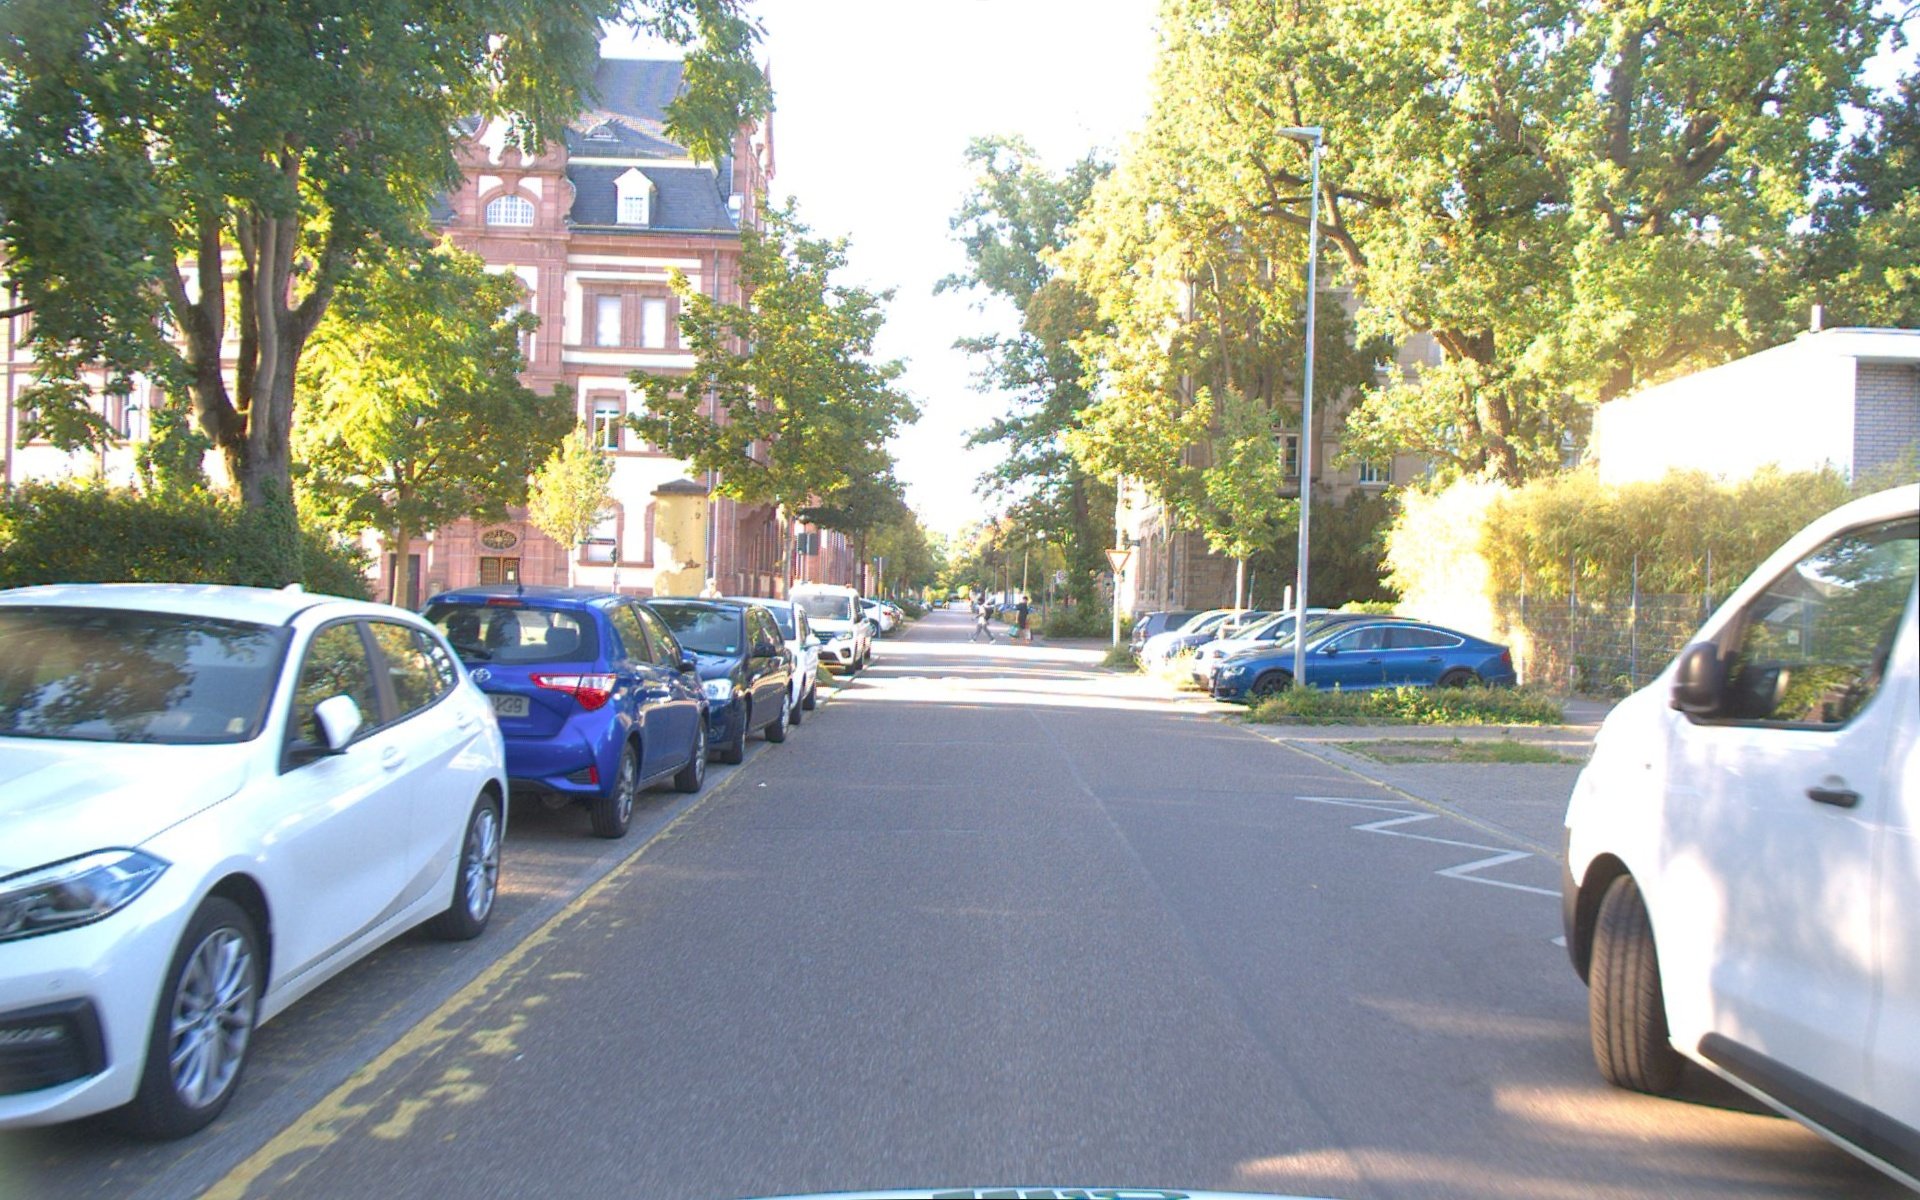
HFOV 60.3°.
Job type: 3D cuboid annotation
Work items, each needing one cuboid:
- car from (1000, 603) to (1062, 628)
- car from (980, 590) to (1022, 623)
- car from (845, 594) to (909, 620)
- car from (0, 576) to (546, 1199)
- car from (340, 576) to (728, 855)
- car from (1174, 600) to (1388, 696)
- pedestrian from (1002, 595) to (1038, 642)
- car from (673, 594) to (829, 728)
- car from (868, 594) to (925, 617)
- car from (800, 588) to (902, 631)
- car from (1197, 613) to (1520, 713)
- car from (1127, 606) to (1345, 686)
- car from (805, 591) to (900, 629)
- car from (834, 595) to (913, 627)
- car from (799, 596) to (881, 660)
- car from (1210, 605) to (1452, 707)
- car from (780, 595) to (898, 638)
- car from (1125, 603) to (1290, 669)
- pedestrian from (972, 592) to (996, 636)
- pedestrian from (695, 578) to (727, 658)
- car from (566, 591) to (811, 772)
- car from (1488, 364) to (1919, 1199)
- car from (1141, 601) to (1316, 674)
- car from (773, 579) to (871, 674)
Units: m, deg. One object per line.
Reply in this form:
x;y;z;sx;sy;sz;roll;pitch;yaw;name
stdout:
5.177;1.134;121.385;4.393;1.636;1.841;2;0;-3;car
4.846;0.760;194.459;4.787;3.681;1.842;2;0;-1;car
-5.789;0.474;115.246;4.393;1.636;1.841;2;0;-3;car
-2.761;0.677;5.465;1.655;1.430;3.975;3;0;1;car
-2.733;0.668;11.462;1.605;1.521;3.705;3;0;1;car
5.840;0.858;30.263;3.430;1.612;1.758;2;0;-10;car
2.463;0.745;67.506;1.050;1.890;0.991;2;0;-32;pedestrian
-2.632;0.718;21.549;1.560;1.553;3.864;2;0;-1;car
-4.938;0.444;129.550;4.393;1.636;1.841;2;0;-3;car
-4.794;0.397;73.044;4.393;1.747;1.841;2;0;-3;car
6.005;0.952;25.313;4.494;1.439;1.923;0;-1;1;car
6.005;0.986;36.333;4.402;1.576;1.890;2;0;-3;car
-5.037;0.475;77.984;4.393;1.636;1.841;2;0;-3;car
-4.883;0.609;94.119;4.393;1.636;1.841;2;0;-3;car
-3.065;0.697;43.071;1.744;1.531;4.552;2;0;0;car
6.200;0.920;27.890;3.608;1.550;1.790;2;0;-4;car
-4.974;0.686;68.277;4.745;1.622;1.841;2;0;-3;car
6.148;0.917;41.461;3.872;1.543;1.874;1;-2;1;car
0.901;0.546;62.509;0.770;1.634;0.719;2;-1;-6;pedestrian
-5.796;0.410;38.523;0.587;1.815;0.945;2;0;-3;pedestrian
-2.528;0.701;16.282;1.519;1.520;3.944;2;0;3;car
3.095;0.519;3.866;1.913;2.049;5.151;2;0;-2;car
6.267;0.863;38.890;3.871;1.543;1.675;2;0;3;car
-2.895;0.529;35.583;1.745;1.873;4.552;2;0;-1;car
